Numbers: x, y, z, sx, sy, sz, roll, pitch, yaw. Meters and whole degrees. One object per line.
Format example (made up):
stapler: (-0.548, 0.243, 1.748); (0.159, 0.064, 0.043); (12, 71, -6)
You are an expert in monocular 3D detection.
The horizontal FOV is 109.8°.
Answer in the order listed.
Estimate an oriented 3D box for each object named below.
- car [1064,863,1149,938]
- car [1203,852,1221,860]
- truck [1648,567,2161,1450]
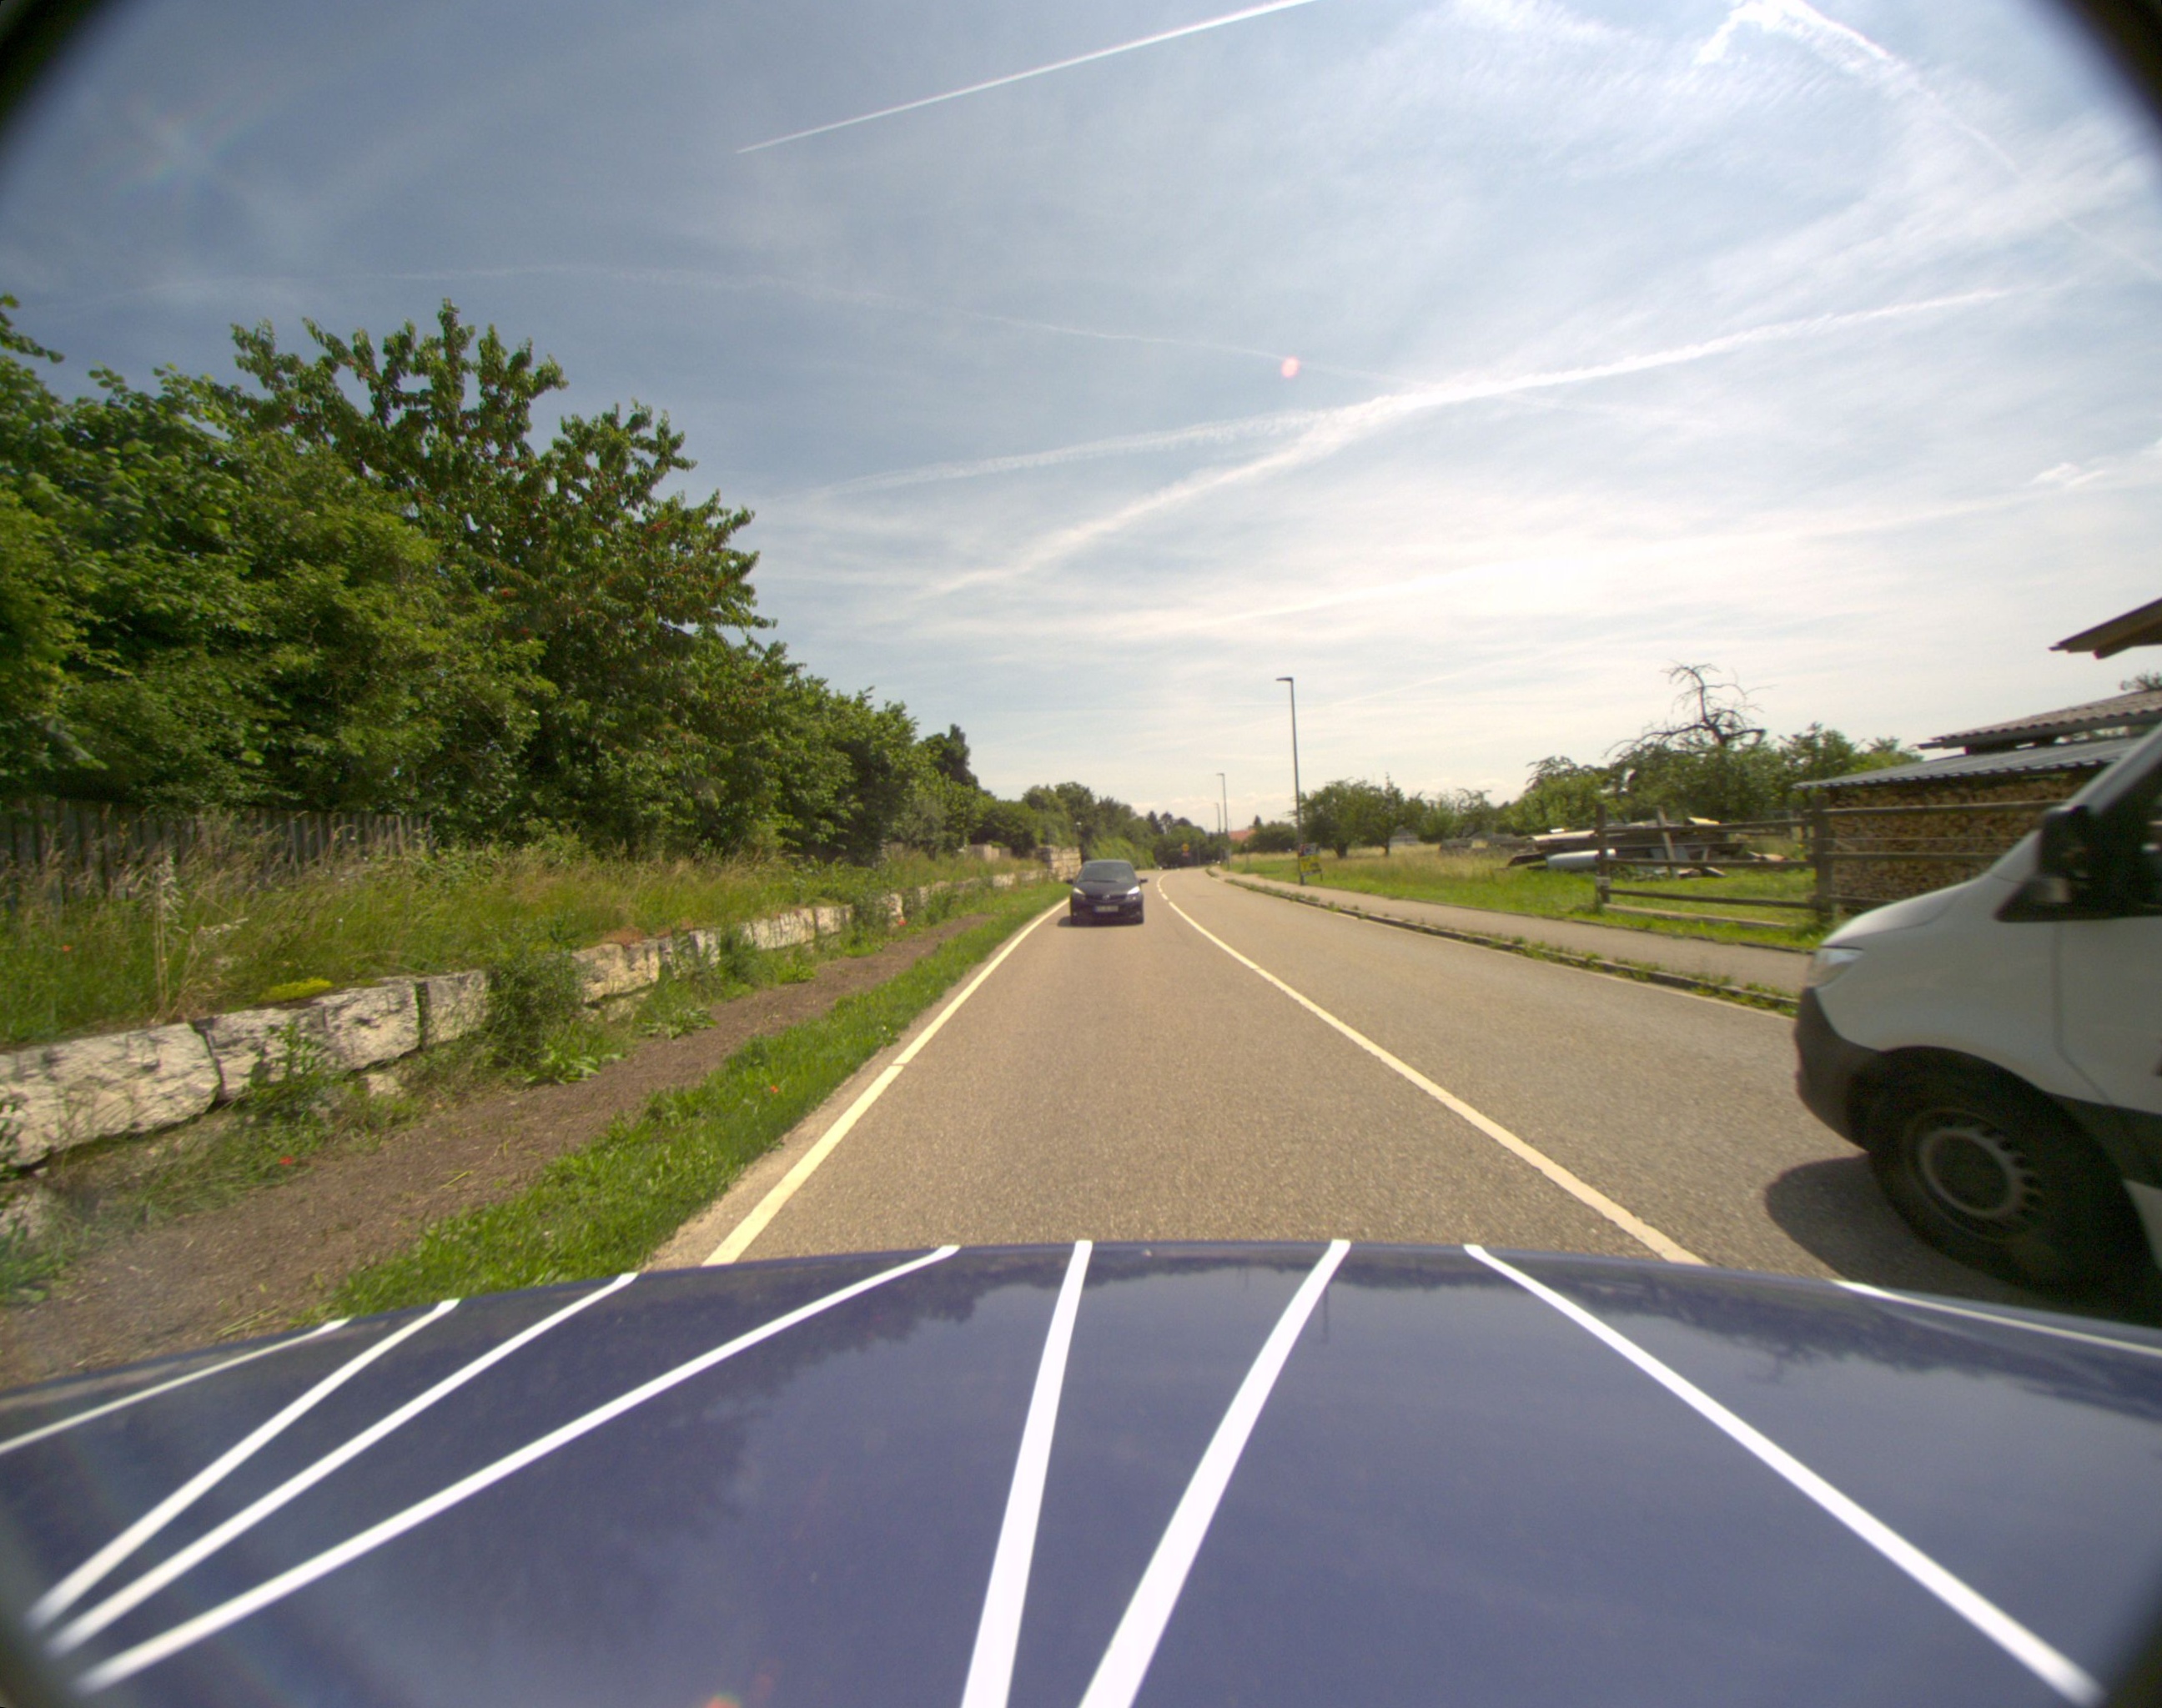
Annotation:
car: (0.567, 0.971, 17.560); (1.677, 1.456, 4.433); (-1, 0, 1)
car: (38.128, 0.485, 221.070); (4.692, 2.002, 2.002); (-3, 0, 19)
truck: (3.871, 0.380, 0.455); (2.228, 2.280, 6.491); (-2, 0, 1)
